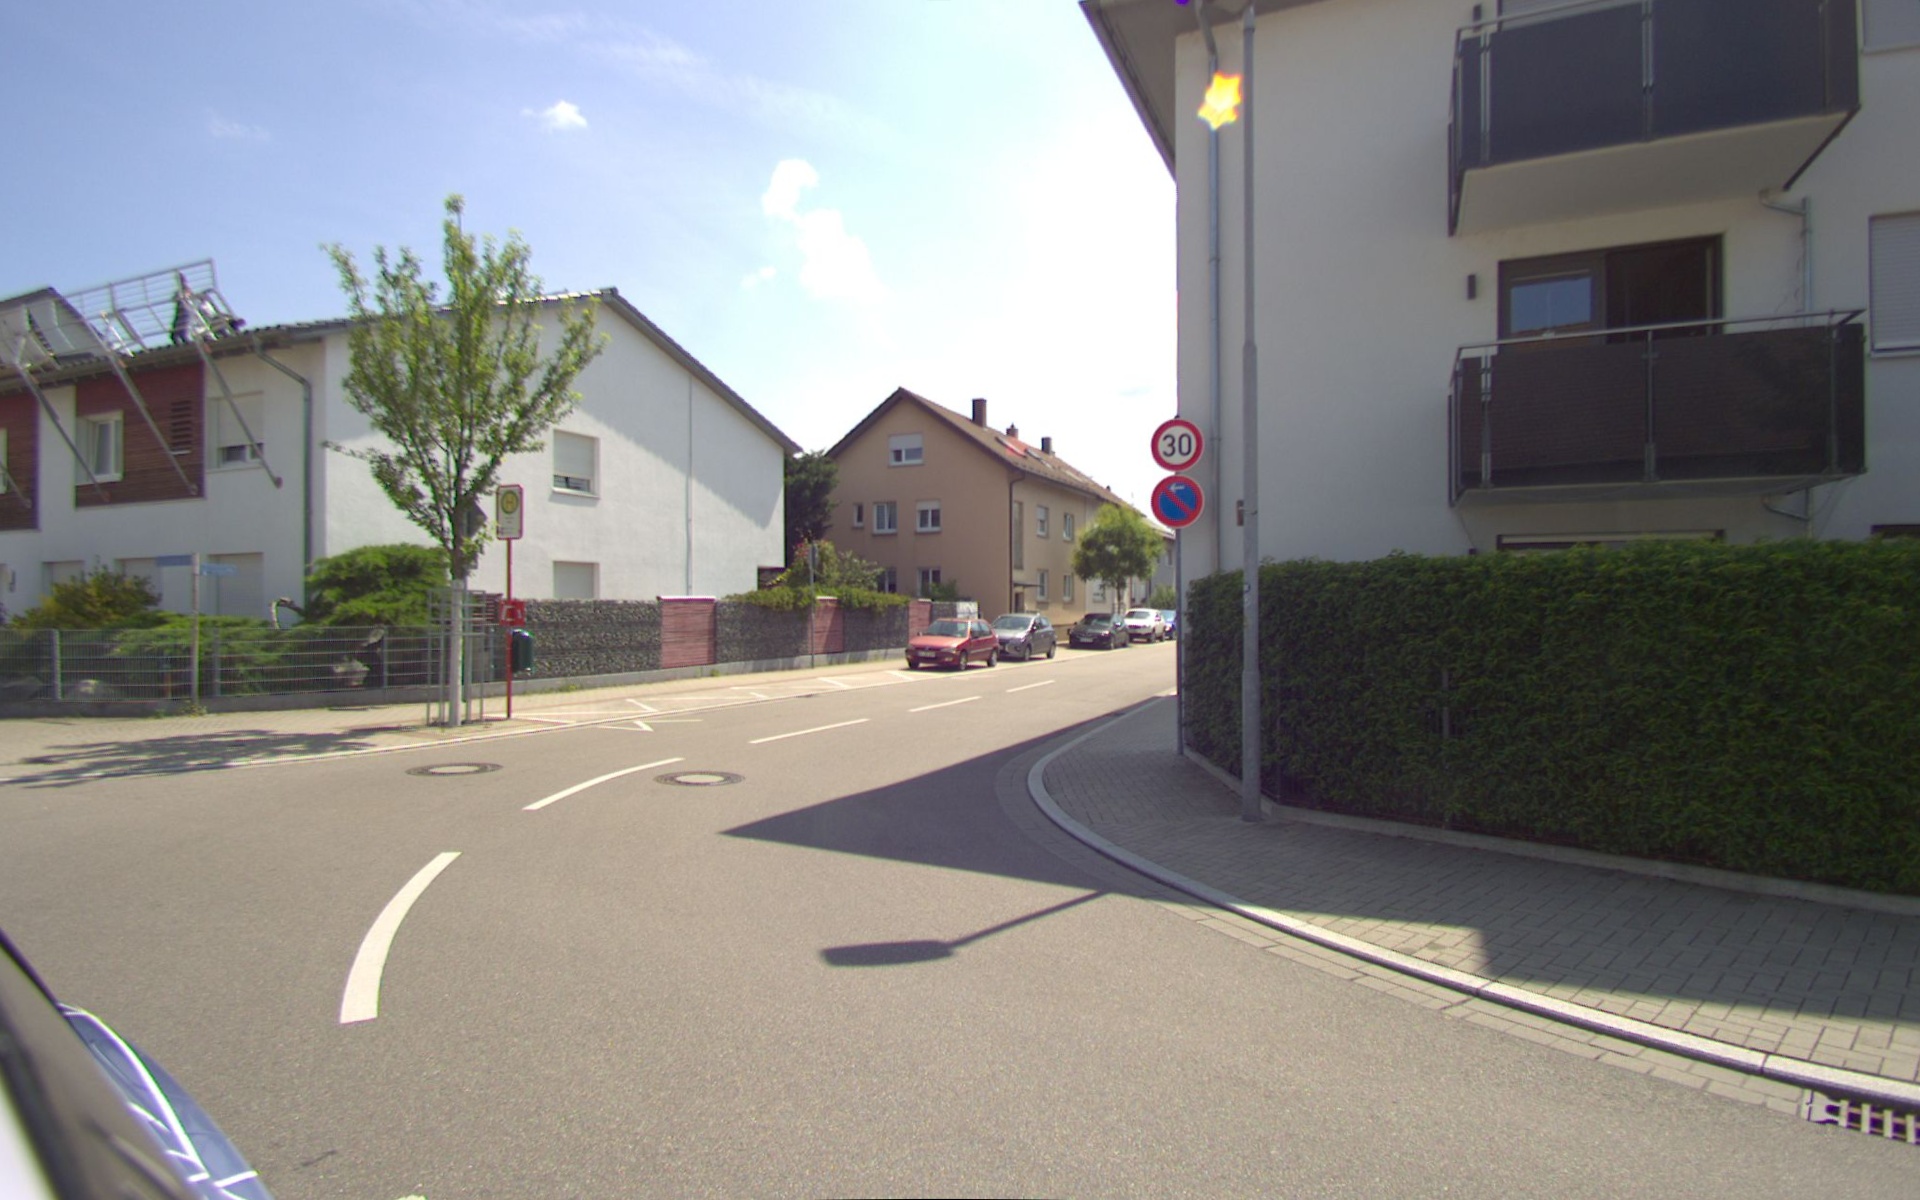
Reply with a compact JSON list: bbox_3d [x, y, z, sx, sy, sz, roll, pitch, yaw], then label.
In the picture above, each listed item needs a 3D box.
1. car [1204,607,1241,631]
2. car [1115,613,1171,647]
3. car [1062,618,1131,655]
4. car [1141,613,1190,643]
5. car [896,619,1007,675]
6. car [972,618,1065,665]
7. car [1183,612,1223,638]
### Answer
[{"bbox_3d":[17.829,1.278,68.652,1.712,1.507,3.966,1,-1,25],"label":"car"},{"bbox_3d":[8.792,1.402,48.509,1.712,1.507,3.966,1,-1,25],"label":"car"},{"bbox_3d":[5.640,1.454,41.552,1.712,1.408,3.966,1,-1,25],"label":"car"},{"bbox_3d":[10.904,1.453,53.488,1.712,1.507,3.966,1,-1,25],"label":"car"},{"bbox_3d":[-0.169,1.245,28.156,1.712,1.408,3.646,1,-1,25],"label":"car"},{"bbox_3d":[1.987,1.318,33.245,1.712,1.408,3.966,1,-1,25],"label":"car"},{"bbox_3d":[15.433,1.578,64.238,1.712,1.507,3.966,1,-1,25],"label":"car"}]
